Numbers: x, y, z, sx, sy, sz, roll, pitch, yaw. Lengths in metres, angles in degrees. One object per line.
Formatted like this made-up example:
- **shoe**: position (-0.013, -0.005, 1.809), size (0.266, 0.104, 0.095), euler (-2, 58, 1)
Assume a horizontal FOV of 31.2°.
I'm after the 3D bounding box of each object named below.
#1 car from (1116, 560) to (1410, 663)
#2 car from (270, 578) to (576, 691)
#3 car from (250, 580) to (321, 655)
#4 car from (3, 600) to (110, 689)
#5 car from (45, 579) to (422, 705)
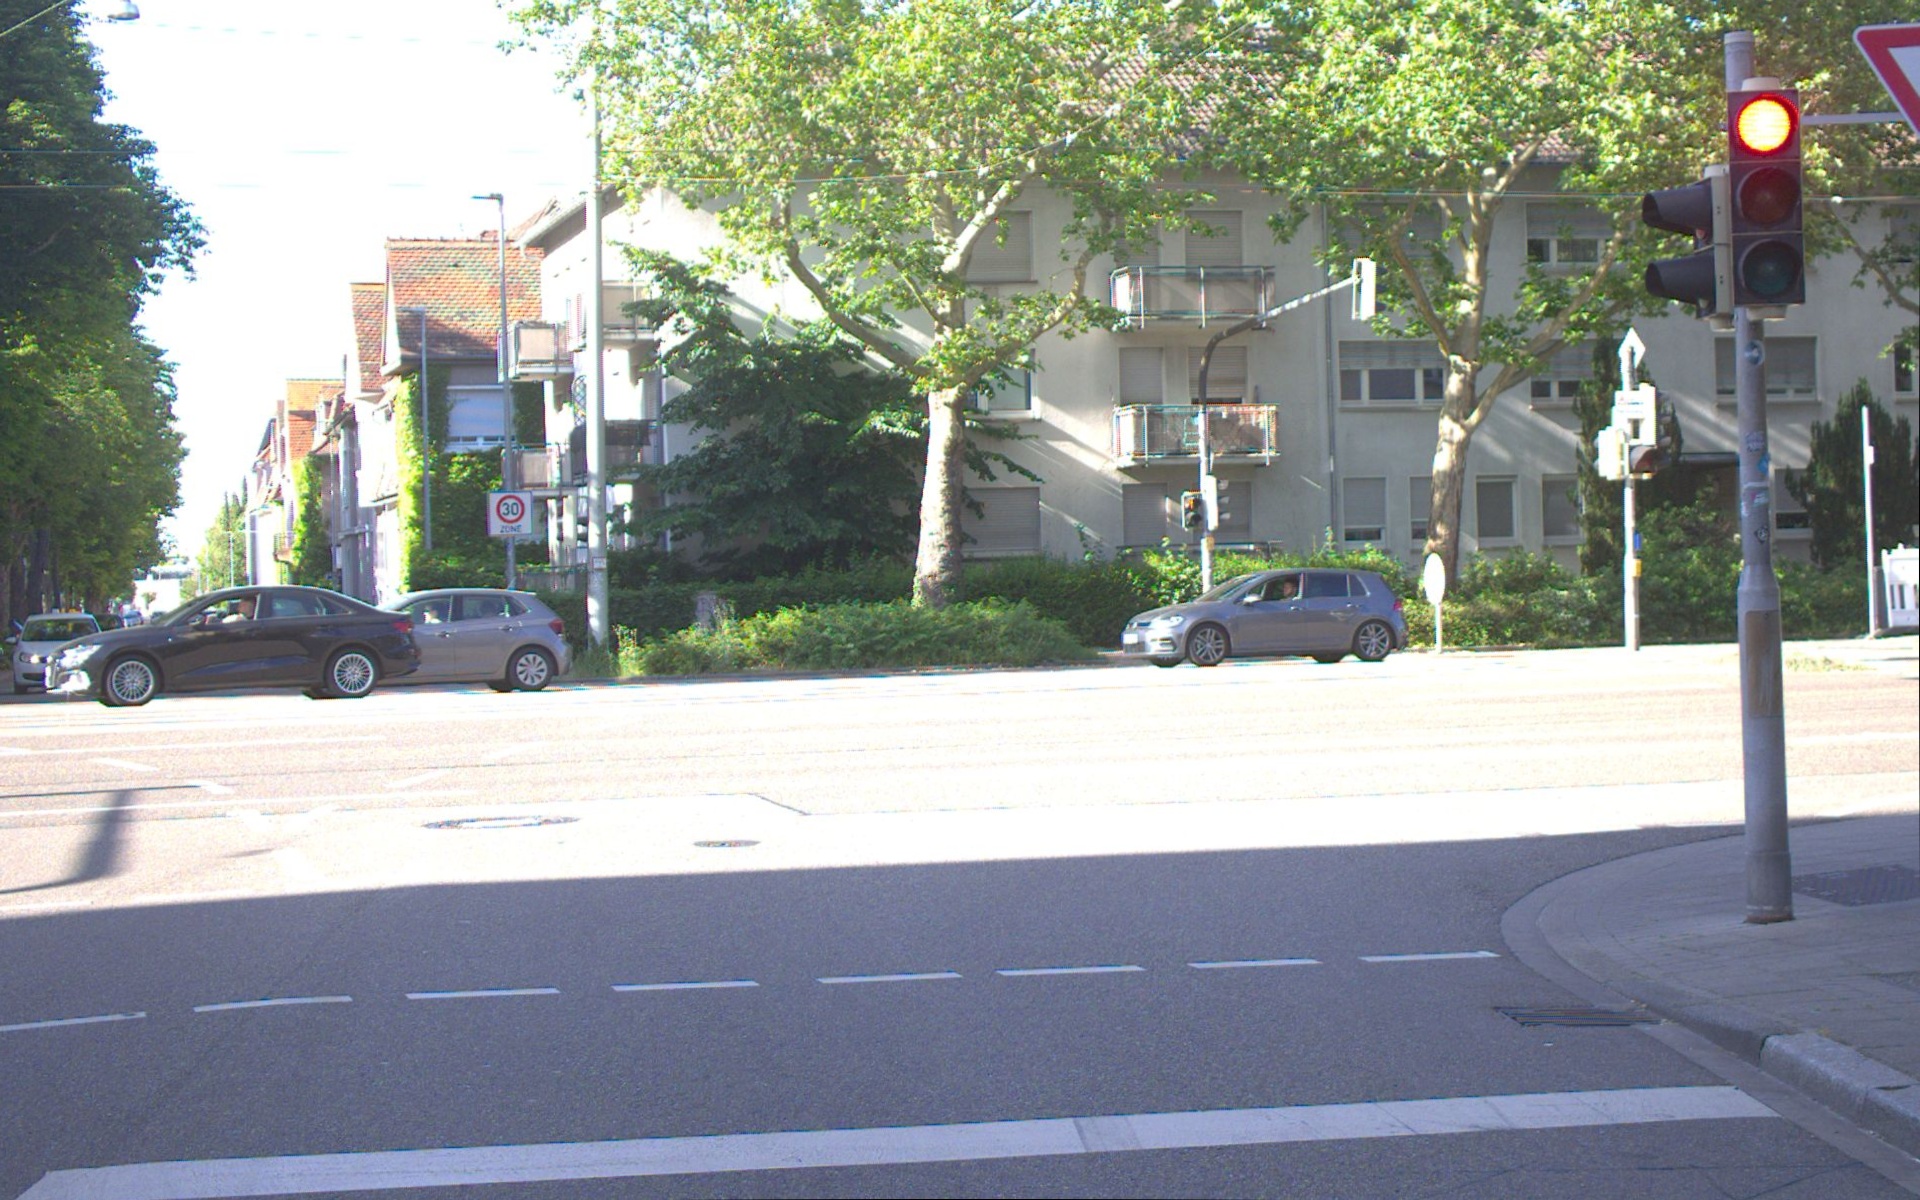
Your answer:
- **car**: position (4.432, 0.152, 50.356), size (3.938, 1.395, 1.646), euler (-1, 1, -17)
- **car**: position (-7.236, 0.443, 46.300), size (3.780, 1.395, 1.646), euler (-1, 1, -21)
- **car**: position (-18.572, 0.462, 94.573), size (1.772, 1.912, 3.535), euler (-3, 1, -12)
- **car**: position (-16.749, 0.806, 63.841), size (1.698, 1.478, 3.535), euler (-3, 1, -12)
- **car**: position (-8.869, 0.482, 41.977), size (4.266, 1.395, 1.646), euler (-1, 1, -21)
